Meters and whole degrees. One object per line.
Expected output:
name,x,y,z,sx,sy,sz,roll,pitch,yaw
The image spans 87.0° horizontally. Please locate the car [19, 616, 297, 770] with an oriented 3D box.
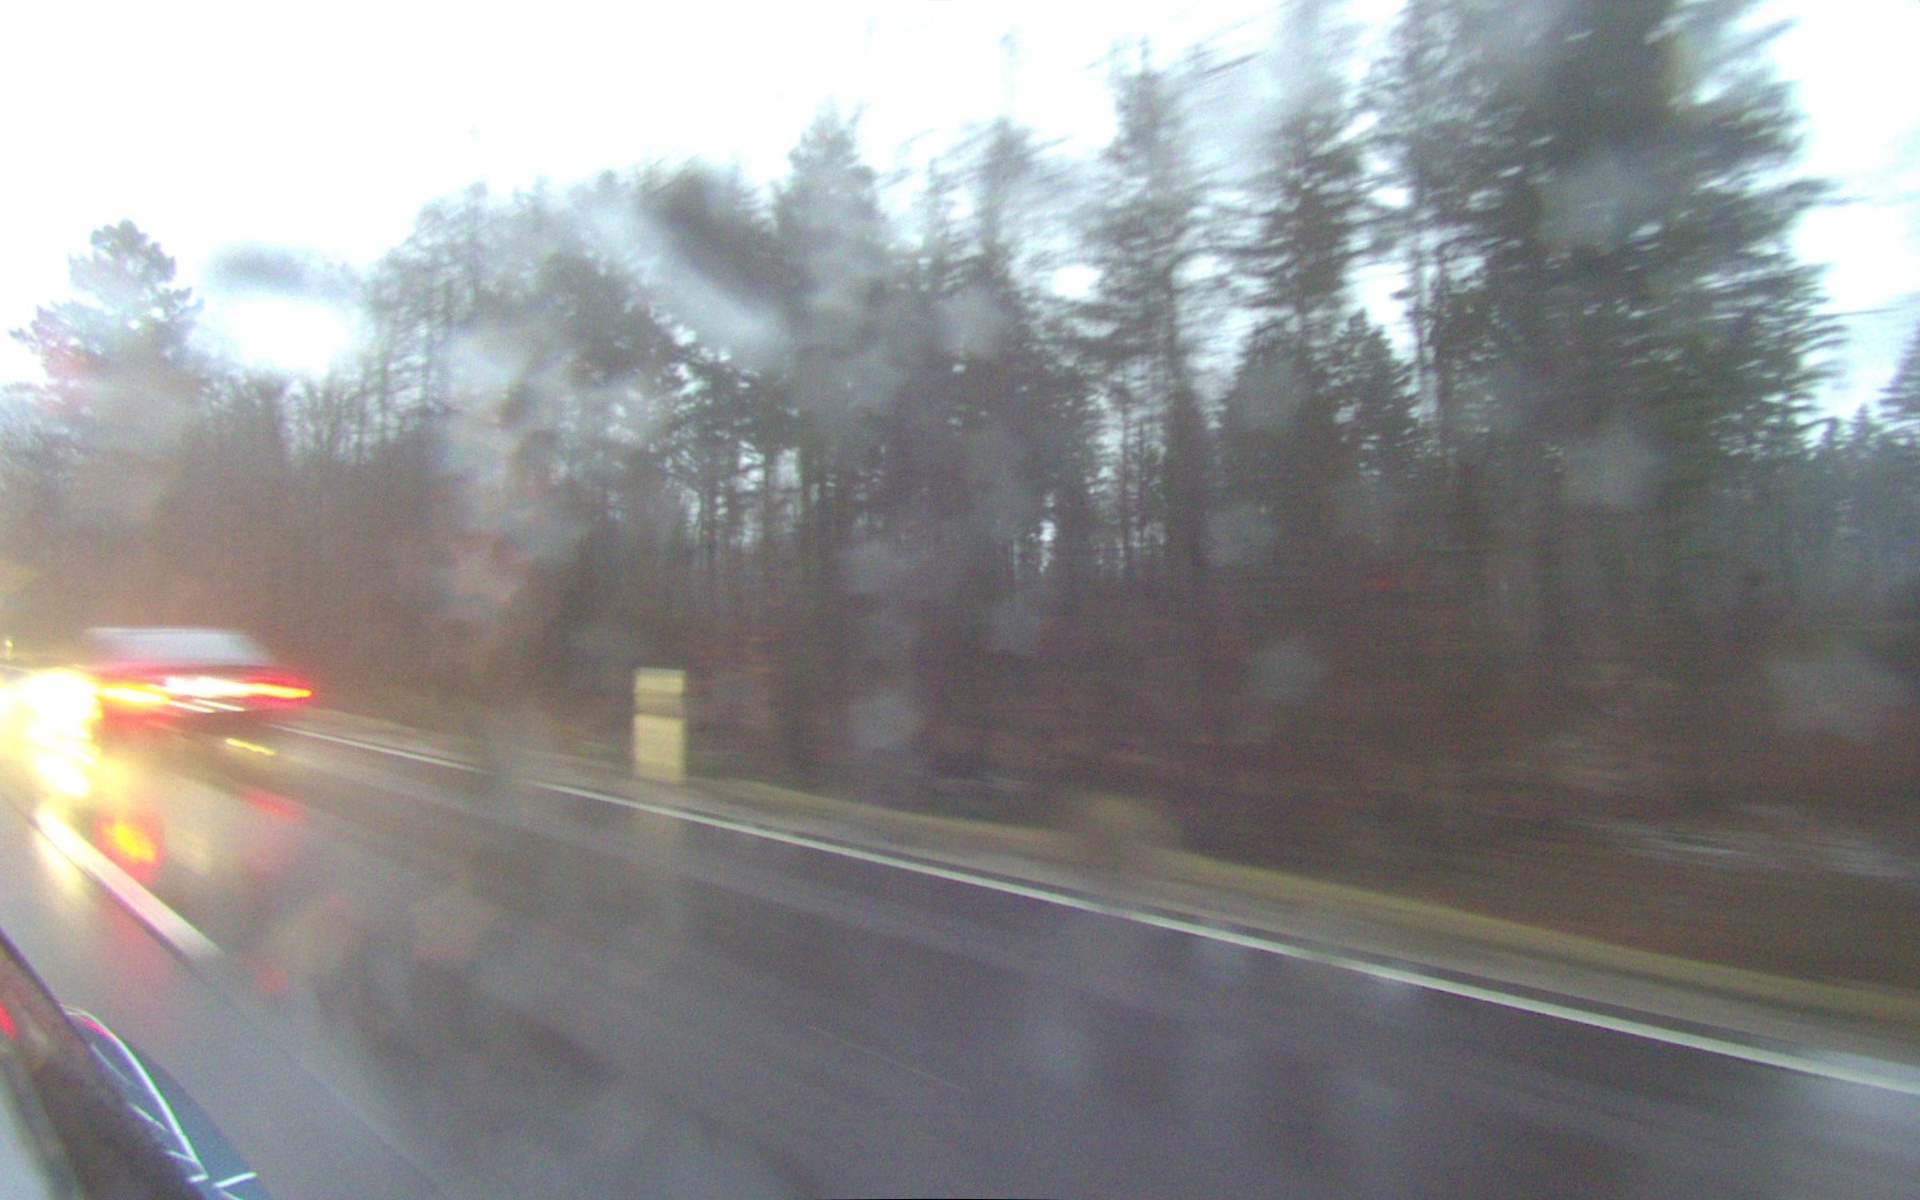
car,-9.502,0.953,11.849,4.505,1.469,1.746,-1,-3,41
